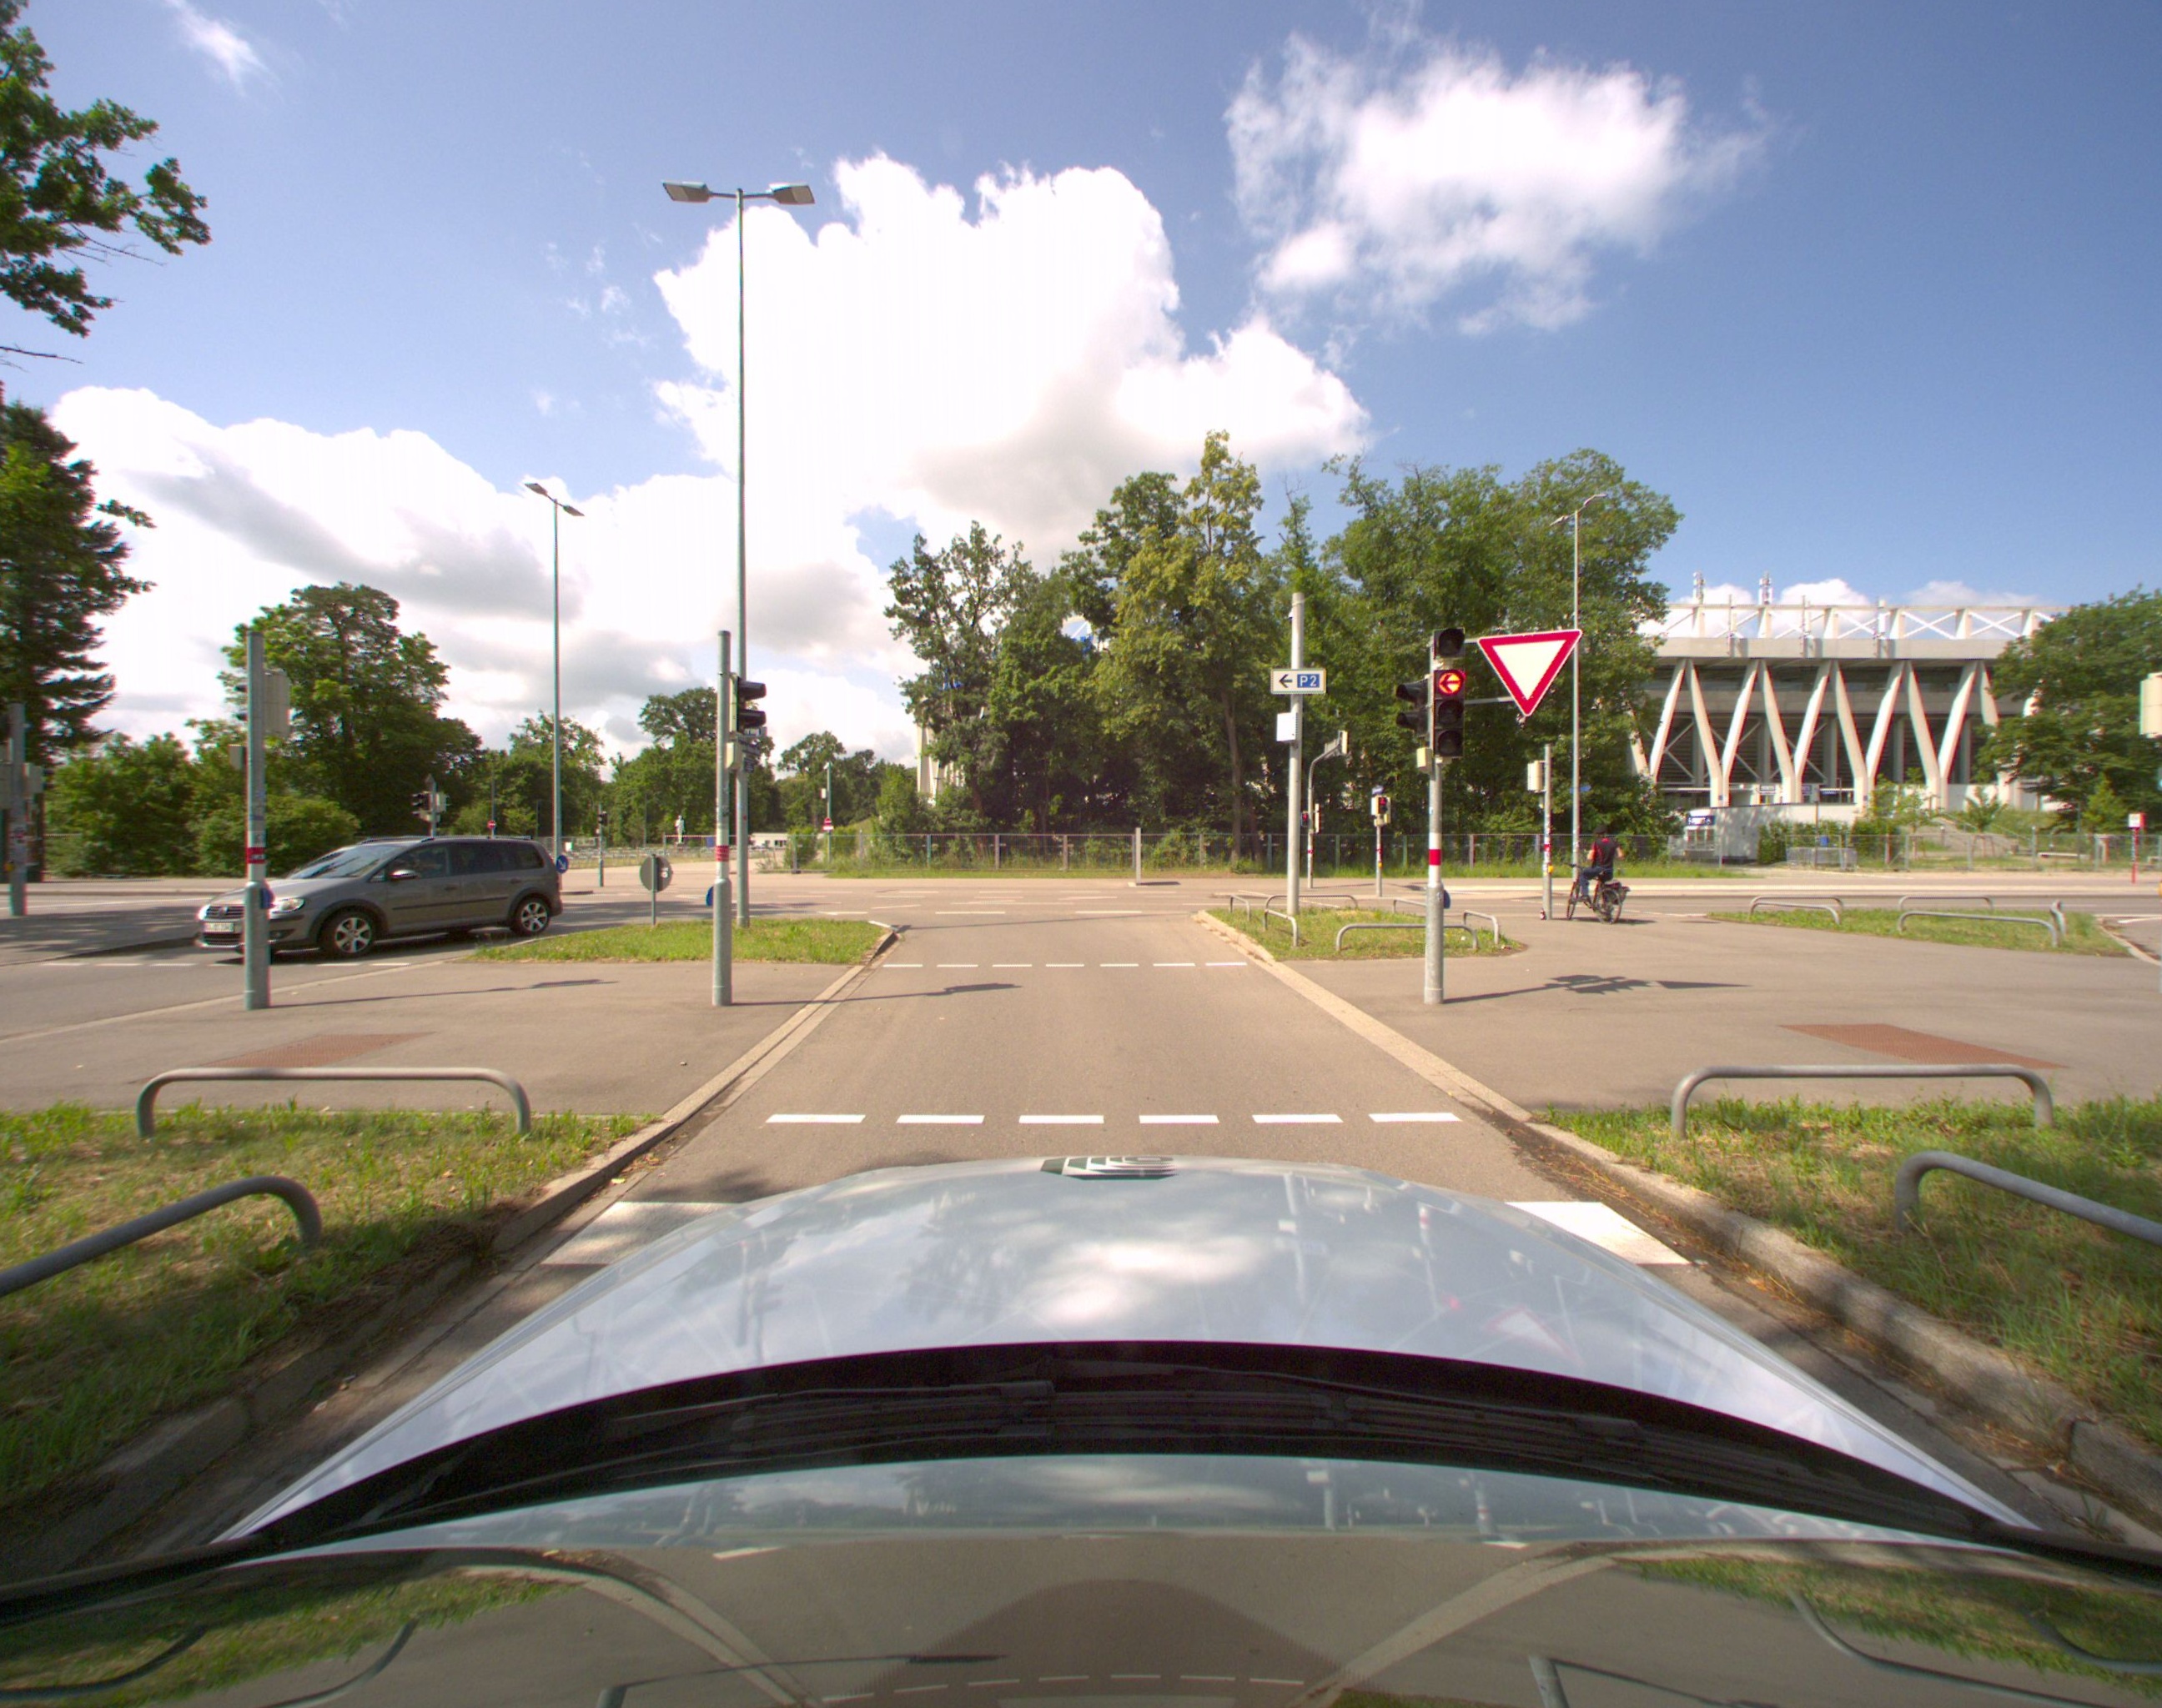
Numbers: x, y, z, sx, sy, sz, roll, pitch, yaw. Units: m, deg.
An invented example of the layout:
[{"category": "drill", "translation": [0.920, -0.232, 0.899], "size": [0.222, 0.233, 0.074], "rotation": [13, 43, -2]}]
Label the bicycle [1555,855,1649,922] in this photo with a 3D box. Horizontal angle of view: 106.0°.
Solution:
[{"category": "bicycle", "translation": [9.958, 0.639, 15.664], "size": [0.875, 1.206, 1.903], "rotation": [-1, -1, 11]}]

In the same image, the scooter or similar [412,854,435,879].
[{"category": "scooter or similar", "translation": [-32.161, 0.585, 39.829], "size": [1.295, 1.200, 0.410], "rotation": [0, 1, 32]}]

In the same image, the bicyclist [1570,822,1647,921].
[{"category": "bicyclist", "translation": [9.908, 0.321, 15.331], "size": [0.879, 1.798, 0.981], "rotation": [-1, -1, 10]}]

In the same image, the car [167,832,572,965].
[{"category": "car", "translation": [-10.294, 0.523, 12.311], "size": [1.748, 1.629, 4.317], "rotation": [-1, 1, 15]}]
